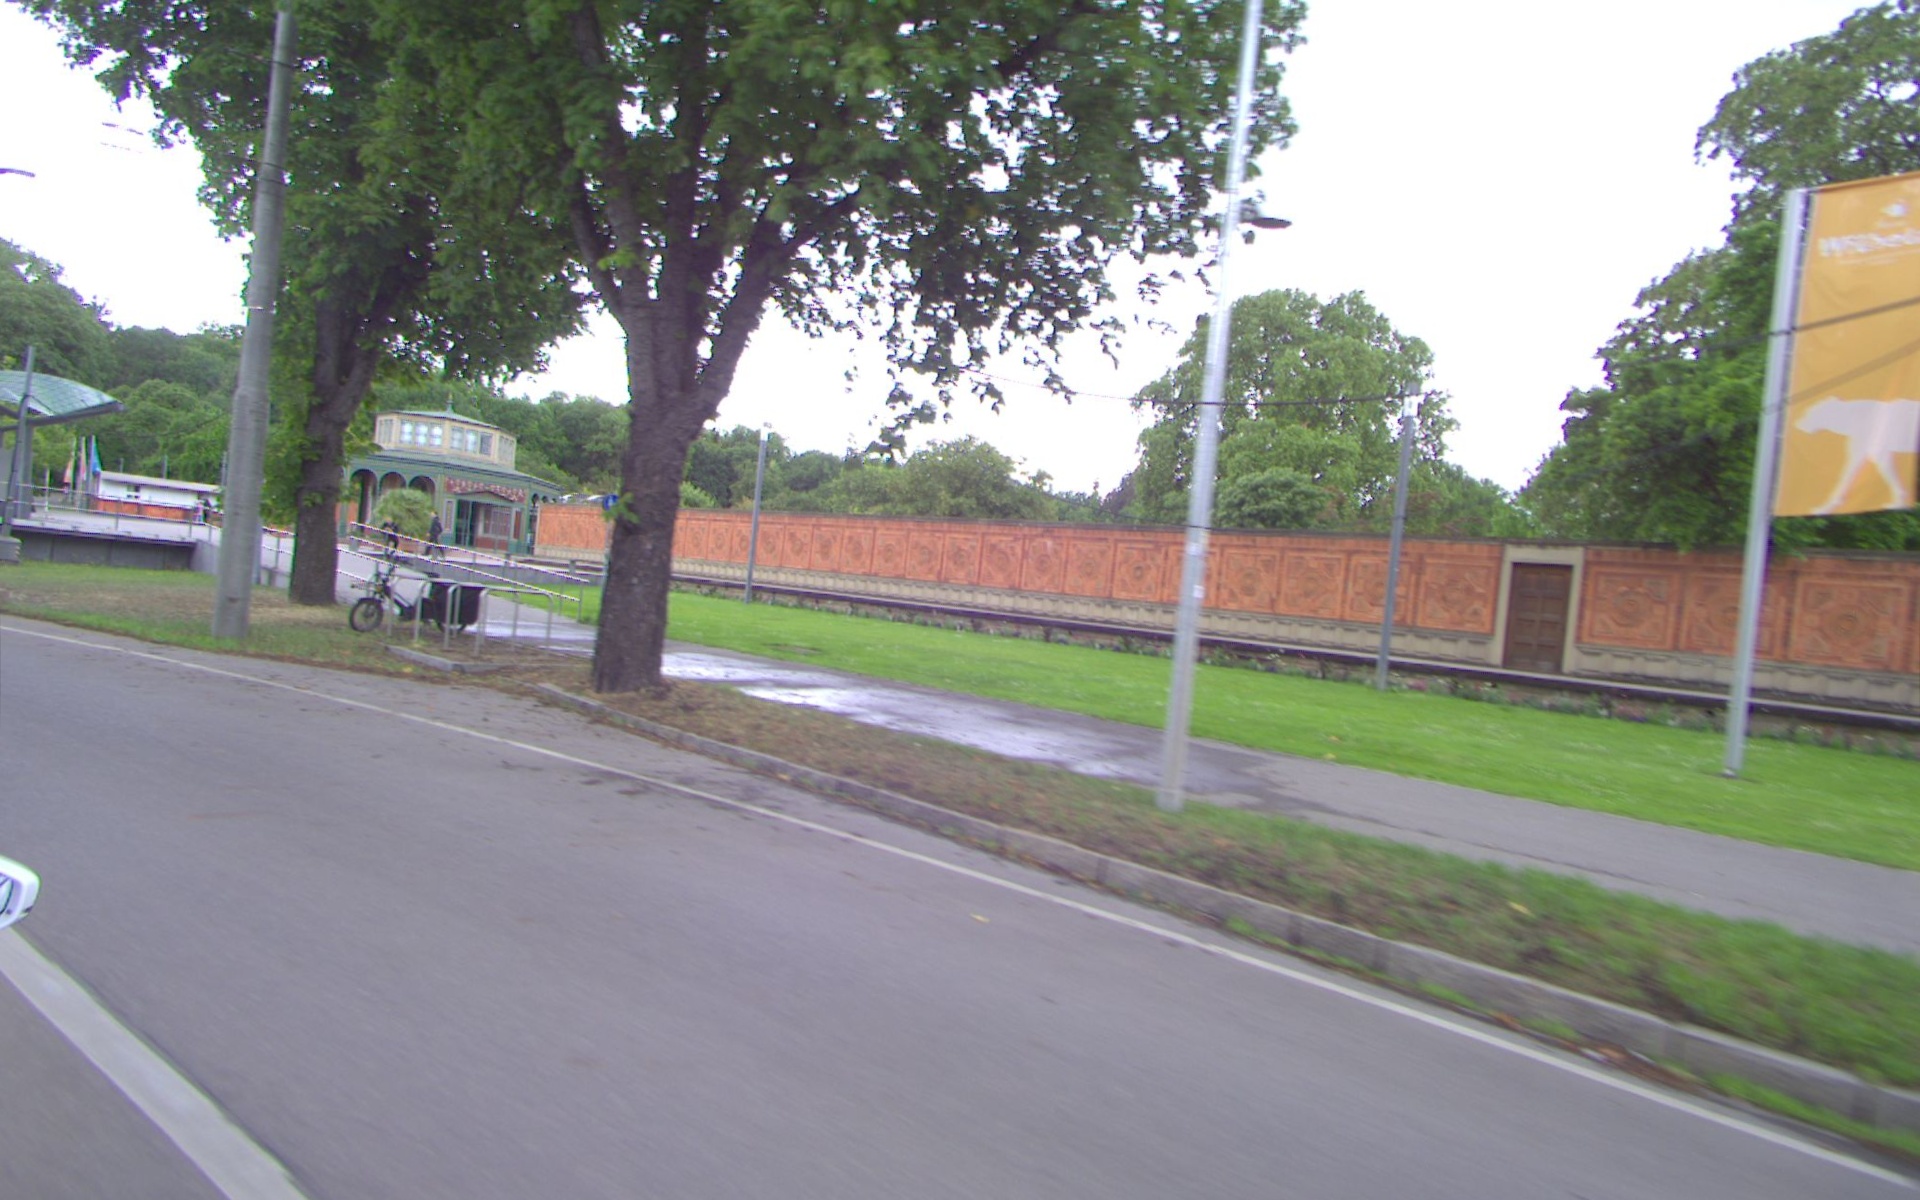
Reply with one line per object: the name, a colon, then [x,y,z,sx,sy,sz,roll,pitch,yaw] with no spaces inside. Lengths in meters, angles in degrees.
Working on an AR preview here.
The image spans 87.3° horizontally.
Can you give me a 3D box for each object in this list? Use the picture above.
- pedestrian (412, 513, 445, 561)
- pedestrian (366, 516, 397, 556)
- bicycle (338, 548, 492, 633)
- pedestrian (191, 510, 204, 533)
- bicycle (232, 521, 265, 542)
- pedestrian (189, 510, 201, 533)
pedestrian: [-22.237,-2.612,42.061,0.937,1.860,0.548,6,-1,-13]
pedestrian: [-19.044,-2.118,33.116,0.658,1.215,0.548,5,-1,34]
bicycle: [-8.658,-0.137,16.047,1.985,1.172,0.732,5,1,-45]
pedestrian: [-51.936,-5.344,68.520,0.454,1.554,0.484,5,-1,44]
bicycle: [-44.150,-4.272,62.457,1.683,1.074,0.565,6,-1,10]
pedestrian: [-51.724,-5.313,68.007,0.454,1.505,0.484,5,-1,44]
